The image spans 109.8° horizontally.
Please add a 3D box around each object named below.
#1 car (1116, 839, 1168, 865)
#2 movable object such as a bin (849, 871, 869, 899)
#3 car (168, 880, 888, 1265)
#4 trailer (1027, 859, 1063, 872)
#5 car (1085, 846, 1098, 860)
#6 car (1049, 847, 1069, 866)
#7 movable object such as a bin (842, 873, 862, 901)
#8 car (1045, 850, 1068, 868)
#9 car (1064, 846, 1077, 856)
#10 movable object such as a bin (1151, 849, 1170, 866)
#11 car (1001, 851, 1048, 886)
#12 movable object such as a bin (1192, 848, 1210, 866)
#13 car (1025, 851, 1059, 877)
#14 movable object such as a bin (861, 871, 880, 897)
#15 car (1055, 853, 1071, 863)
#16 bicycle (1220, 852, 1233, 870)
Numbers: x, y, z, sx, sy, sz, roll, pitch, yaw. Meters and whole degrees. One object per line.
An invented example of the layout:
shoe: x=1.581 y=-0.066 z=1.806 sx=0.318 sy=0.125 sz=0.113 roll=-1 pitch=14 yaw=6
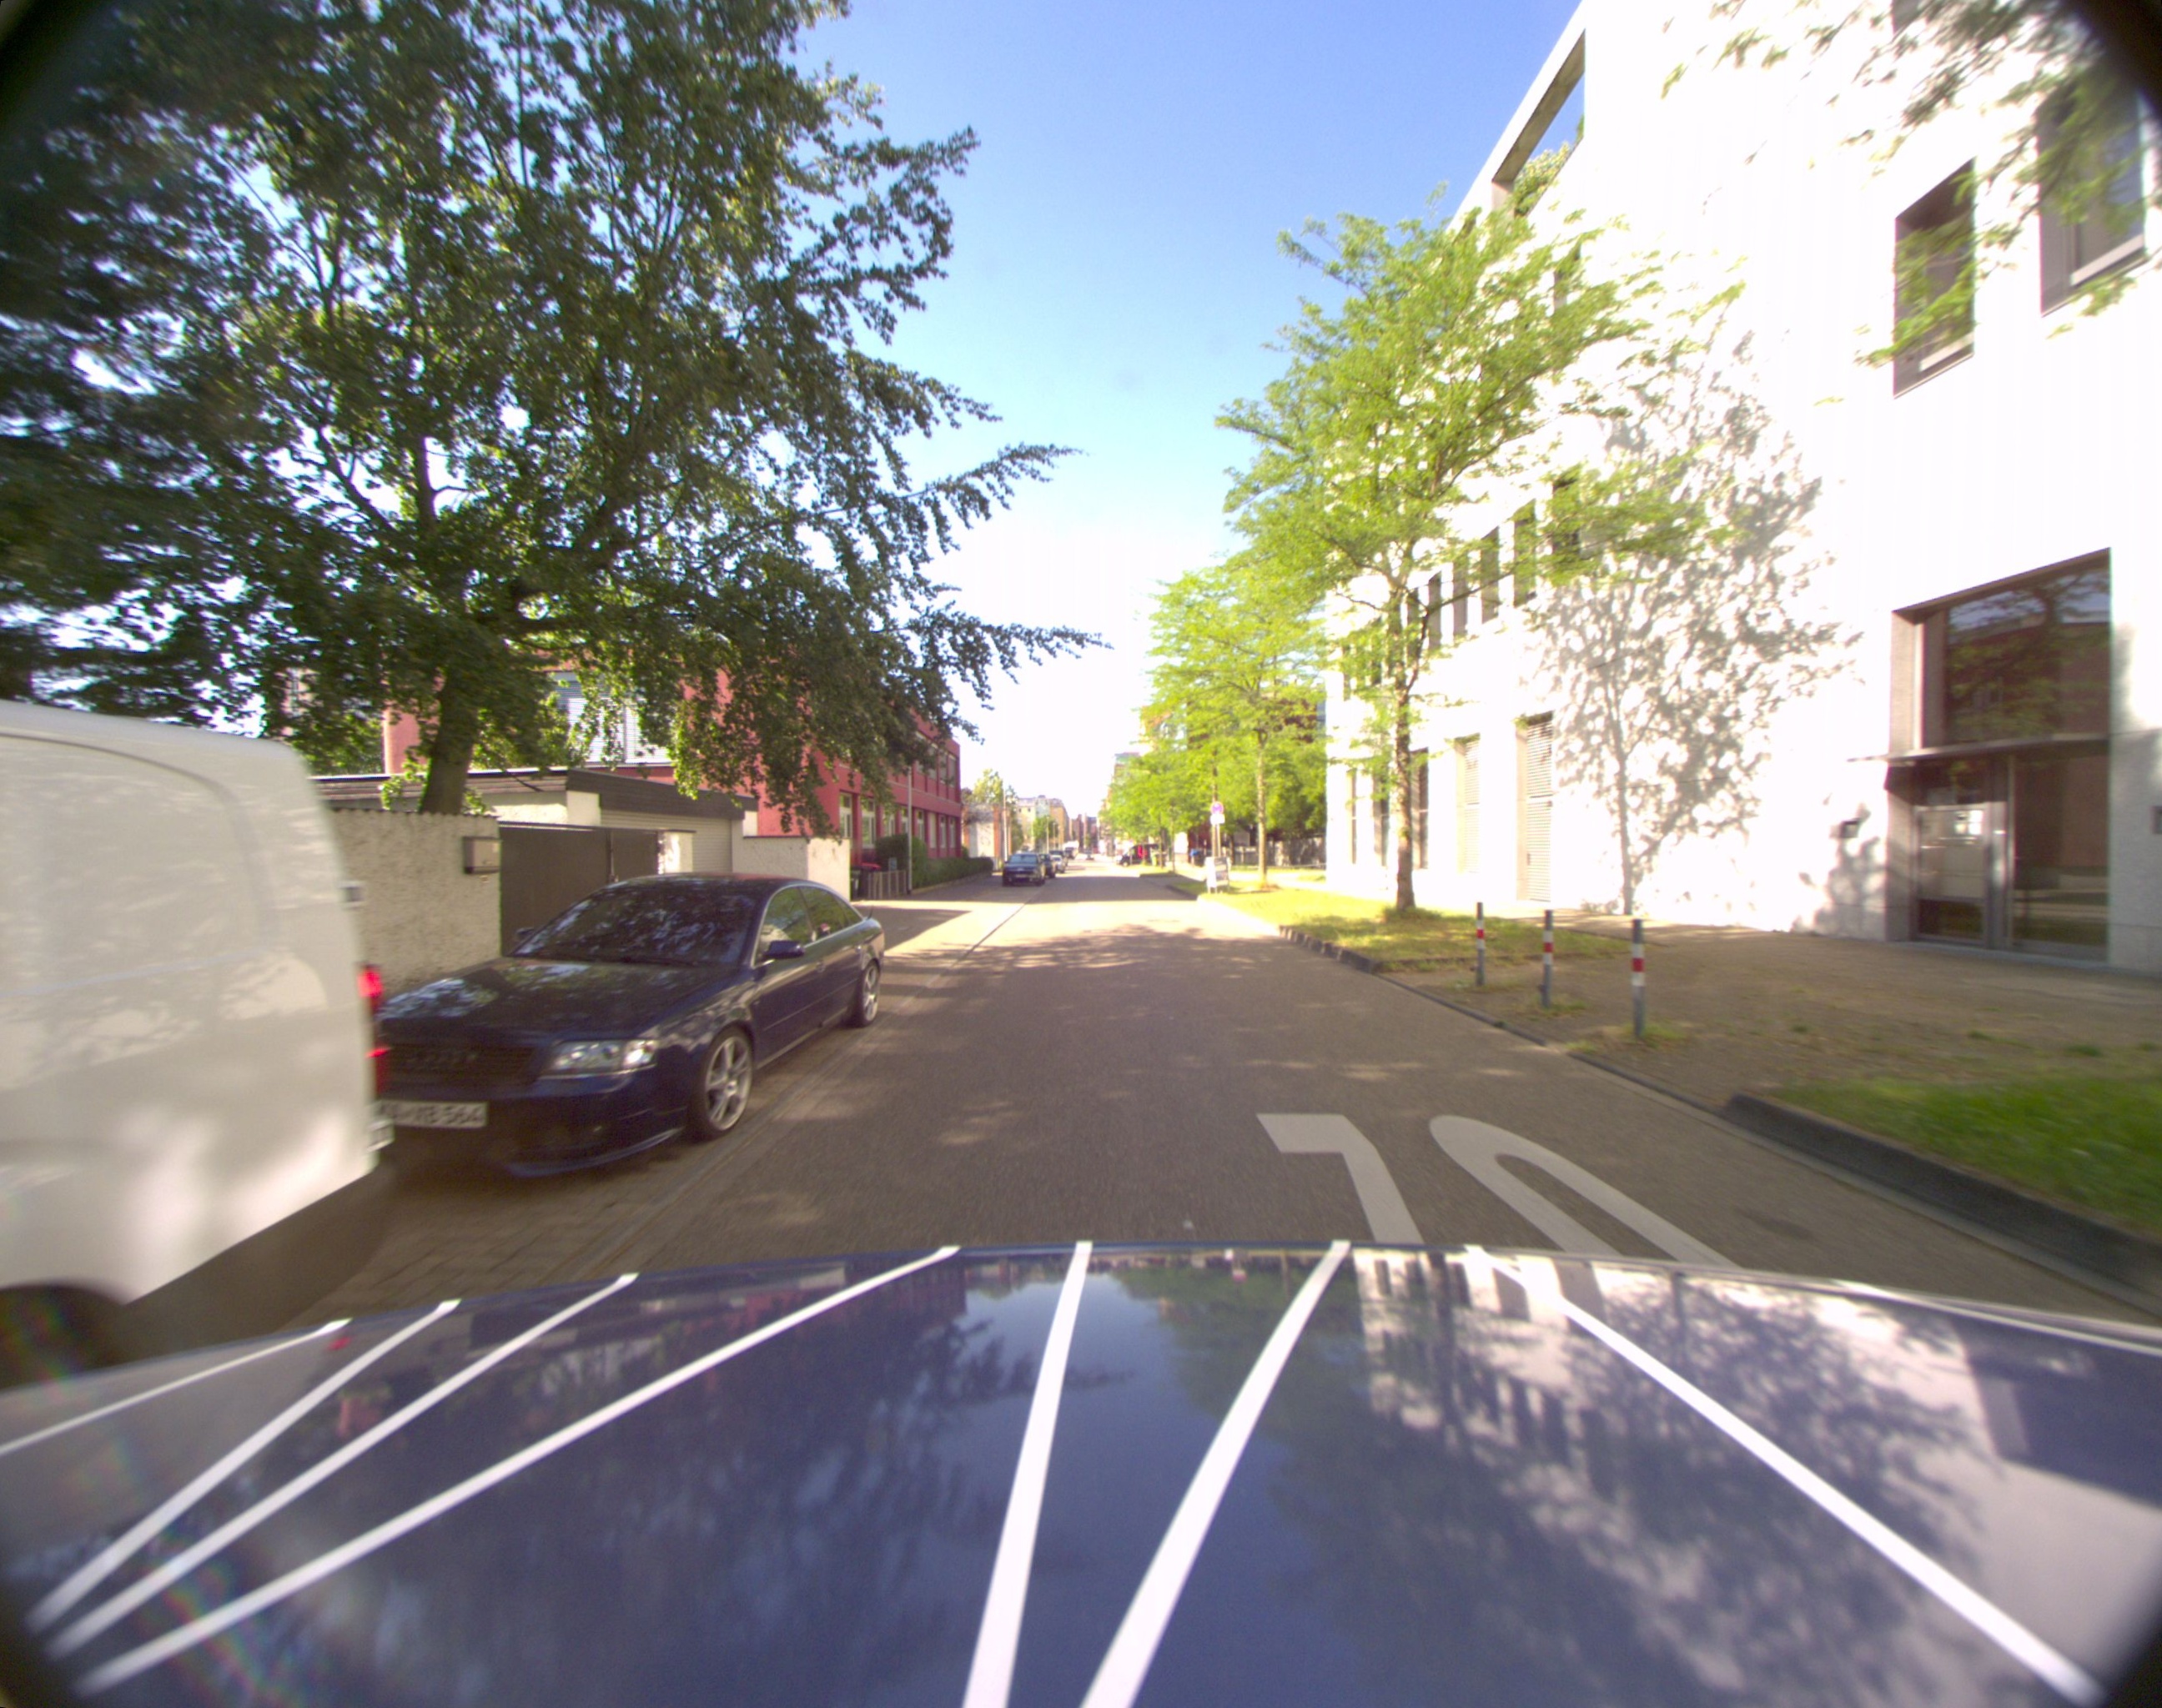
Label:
car: x=6.633 y=-0.245 z=83.055 sx=5.489 sy=2.527 sz=1.986 roll=-3 pitch=1 yaw=0
movable object such as a bin: x=-7.503 y=1.051 z=25.676 sx=0.478 sy=0.895 sz=0.475 roll=-2 pitch=1 yaw=2
car: x=-2.855 y=0.987 z=5.316 sx=1.830 sy=1.415 sz=4.283 roll=0 pitch=1 yaw=1
trailer: x=-2.820 y=0.879 z=60.430 sx=1.563 sy=0.922 sz=2.986 roll=0 pitch=1 yaw=27
car: x=1.593 y=-0.159 z=114.870 sx=1.903 sy=1.974 sz=4.372 roll=0 pitch=1 yaw=1
car: x=-2.309 y=0.257 z=80.087 sx=1.903 sy=1.974 sz=4.372 roll=0 pitch=1 yaw=1
movable object such as a bin: x=-7.522 y=1.073 z=24.978 sx=0.478 sy=0.895 sz=0.475 roll=-2 pitch=1 yaw=2
car: x=-1.993 y=0.409 z=63.603 sx=1.699 sy=1.448 sz=3.889 roll=0 pitch=1 yaw=1
car: x=-1.707 y=-0.447 z=121.602 sx=1.903 sy=1.585 sz=4.372 roll=0 pitch=1 yaw=1
movable object such as a bin: x=7.715 y=0.342 z=73.957 sx=1.524 sy=1.559 sz=1.345 roll=-2 pitch=1 yaw=-9
car: x=-2.764 y=0.697 z=38.072 sx=1.903 sy=1.620 sz=4.372 roll=0 pitch=1 yaw=1
movable object such as a bin: x=10.696 y=0.292 z=67.708 sx=1.522 sy=1.559 sz=1.347 roll=-2 pitch=1 yaw=6
car: x=-2.510 y=0.629 z=49.495 sx=1.878 sy=1.620 sz=4.406 roll=0 pitch=1 yaw=1
movable object such as a bin: x=-7.392 y=1.054 z=26.657 sx=0.478 sy=0.895 sz=0.475 roll=-2 pitch=1 yaw=2
car: x=-2.220 y=0.475 z=94.856 sx=1.777 sy=1.282 sz=4.095 roll=0 pitch=1 yaw=1
bicycle: x=10.351 y=0.500 z=54.080 sx=0.602 sy=1.185 sz=1.727 roll=-2 pitch=1 yaw=1
